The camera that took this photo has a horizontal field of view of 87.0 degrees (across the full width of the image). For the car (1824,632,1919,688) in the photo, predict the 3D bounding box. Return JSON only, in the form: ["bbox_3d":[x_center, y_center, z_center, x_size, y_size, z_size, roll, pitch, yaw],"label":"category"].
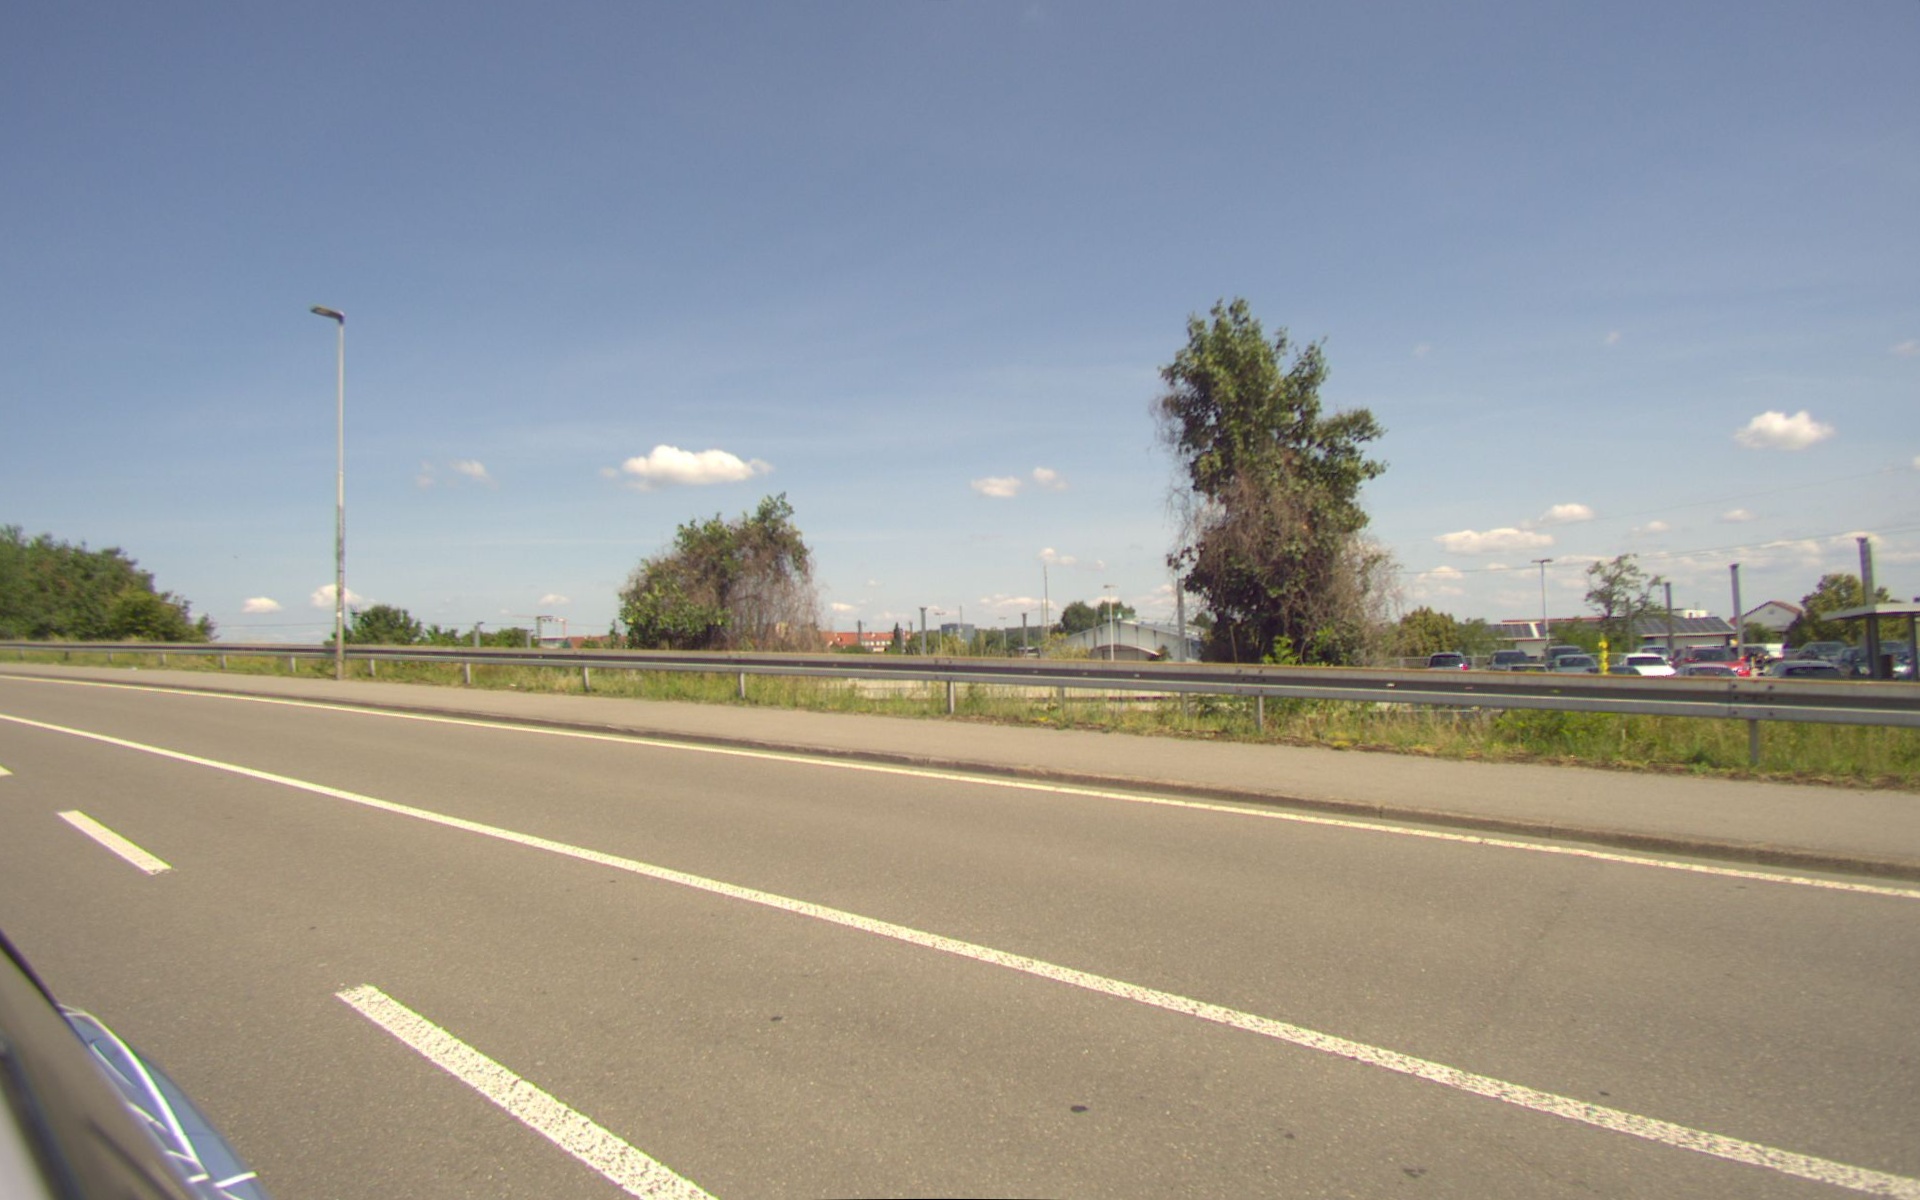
[{"bbox_3d":[34.973,2.234,38.527,1.988,1.918,3.967,-4,-3,24],"label":"car"}]

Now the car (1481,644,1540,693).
[{"bbox_3d":[23.999,2.972,44.087,1.993,2.029,3.957,-4,-5,31],"label":"car"}]

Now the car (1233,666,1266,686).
[{"bbox_3d":[22.737,5.942,79.383,1.686,1.401,3.775,-4,-3,28],"label":"car"}]

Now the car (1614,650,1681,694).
[{"bbox_3d":[28.100,2.925,41.465,1.993,1.697,3.957,-1,-3,31],"label":"car"}]

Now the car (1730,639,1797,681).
[{"bbox_3d":[42.802,3.144,54.011,1.684,2.029,3.970,-1,-1,22],"label":"car"}]

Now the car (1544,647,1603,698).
[{"bbox_3d":[25.862,3.012,42.698,1.993,2.029,3.957,-1,-3,31],"label":"car"}]

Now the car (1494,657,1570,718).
[{"bbox_3d":[20.070,3.044,35.655,1.950,1.885,3.965,-4,-3,25],"label":"car"}]

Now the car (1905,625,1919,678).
[{"bbox_3d":[37.225,1.897,37.433,1.988,2.029,3.967,-4,-3,24],"label":"car"}]
